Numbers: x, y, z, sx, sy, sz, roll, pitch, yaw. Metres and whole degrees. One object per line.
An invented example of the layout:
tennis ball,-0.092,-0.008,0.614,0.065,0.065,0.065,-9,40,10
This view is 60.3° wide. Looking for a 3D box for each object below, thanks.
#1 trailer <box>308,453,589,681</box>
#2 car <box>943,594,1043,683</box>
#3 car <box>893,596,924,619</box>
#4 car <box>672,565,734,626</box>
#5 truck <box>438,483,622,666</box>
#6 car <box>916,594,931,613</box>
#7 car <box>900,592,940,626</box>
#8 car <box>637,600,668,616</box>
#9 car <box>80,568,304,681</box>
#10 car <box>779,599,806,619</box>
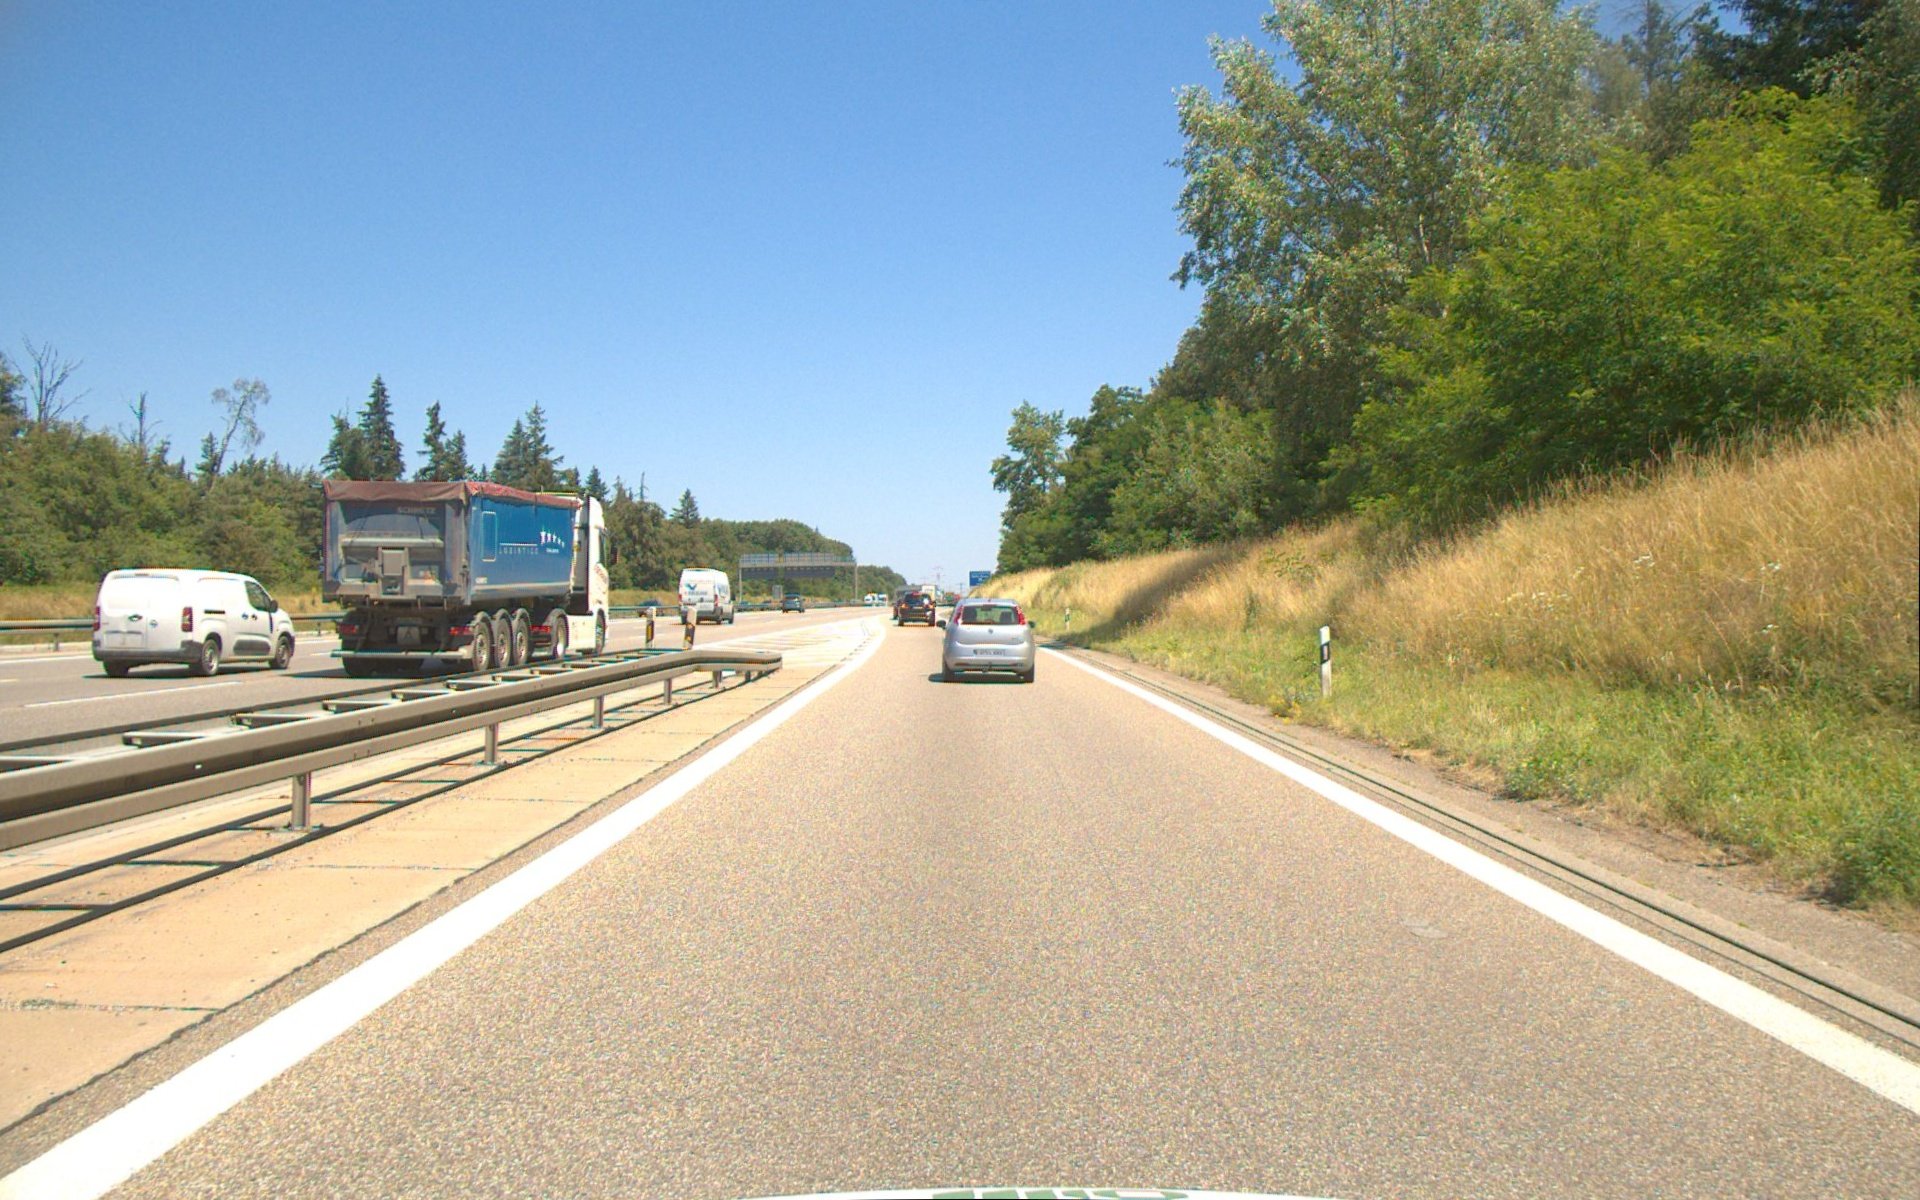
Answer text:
trailer,-9.589,-0.546,32.271,2.681,3.824,9.108,0,0,0
car,0.564,0.671,30.748,1.684,1.518,3.736,1,0,-1
car,-3.473,0.503,112.036,1.855,1.495,4.261,1,0,0
car,-13.222,-0.195,85.536,2.214,3.002,6.113,1,0,0
truck,-9.593,-0.539,37.537,2.629,3.824,5.943,0,0,0
car,-3.956,0.384,179.381,1.579,2.049,3.999,1,0,-1
car,-2.073,0.506,87.333,1.793,1.701,4.001,1,-1,2
car,-28.896,0.748,155.687,2.113,1.524,4.858,0,0,-1
car,-13.656,0.401,29.753,1.794,1.866,4.717,0,0,1
car,-15.746,0.820,155.441,2.113,1.846,4.858,0,0,-1
